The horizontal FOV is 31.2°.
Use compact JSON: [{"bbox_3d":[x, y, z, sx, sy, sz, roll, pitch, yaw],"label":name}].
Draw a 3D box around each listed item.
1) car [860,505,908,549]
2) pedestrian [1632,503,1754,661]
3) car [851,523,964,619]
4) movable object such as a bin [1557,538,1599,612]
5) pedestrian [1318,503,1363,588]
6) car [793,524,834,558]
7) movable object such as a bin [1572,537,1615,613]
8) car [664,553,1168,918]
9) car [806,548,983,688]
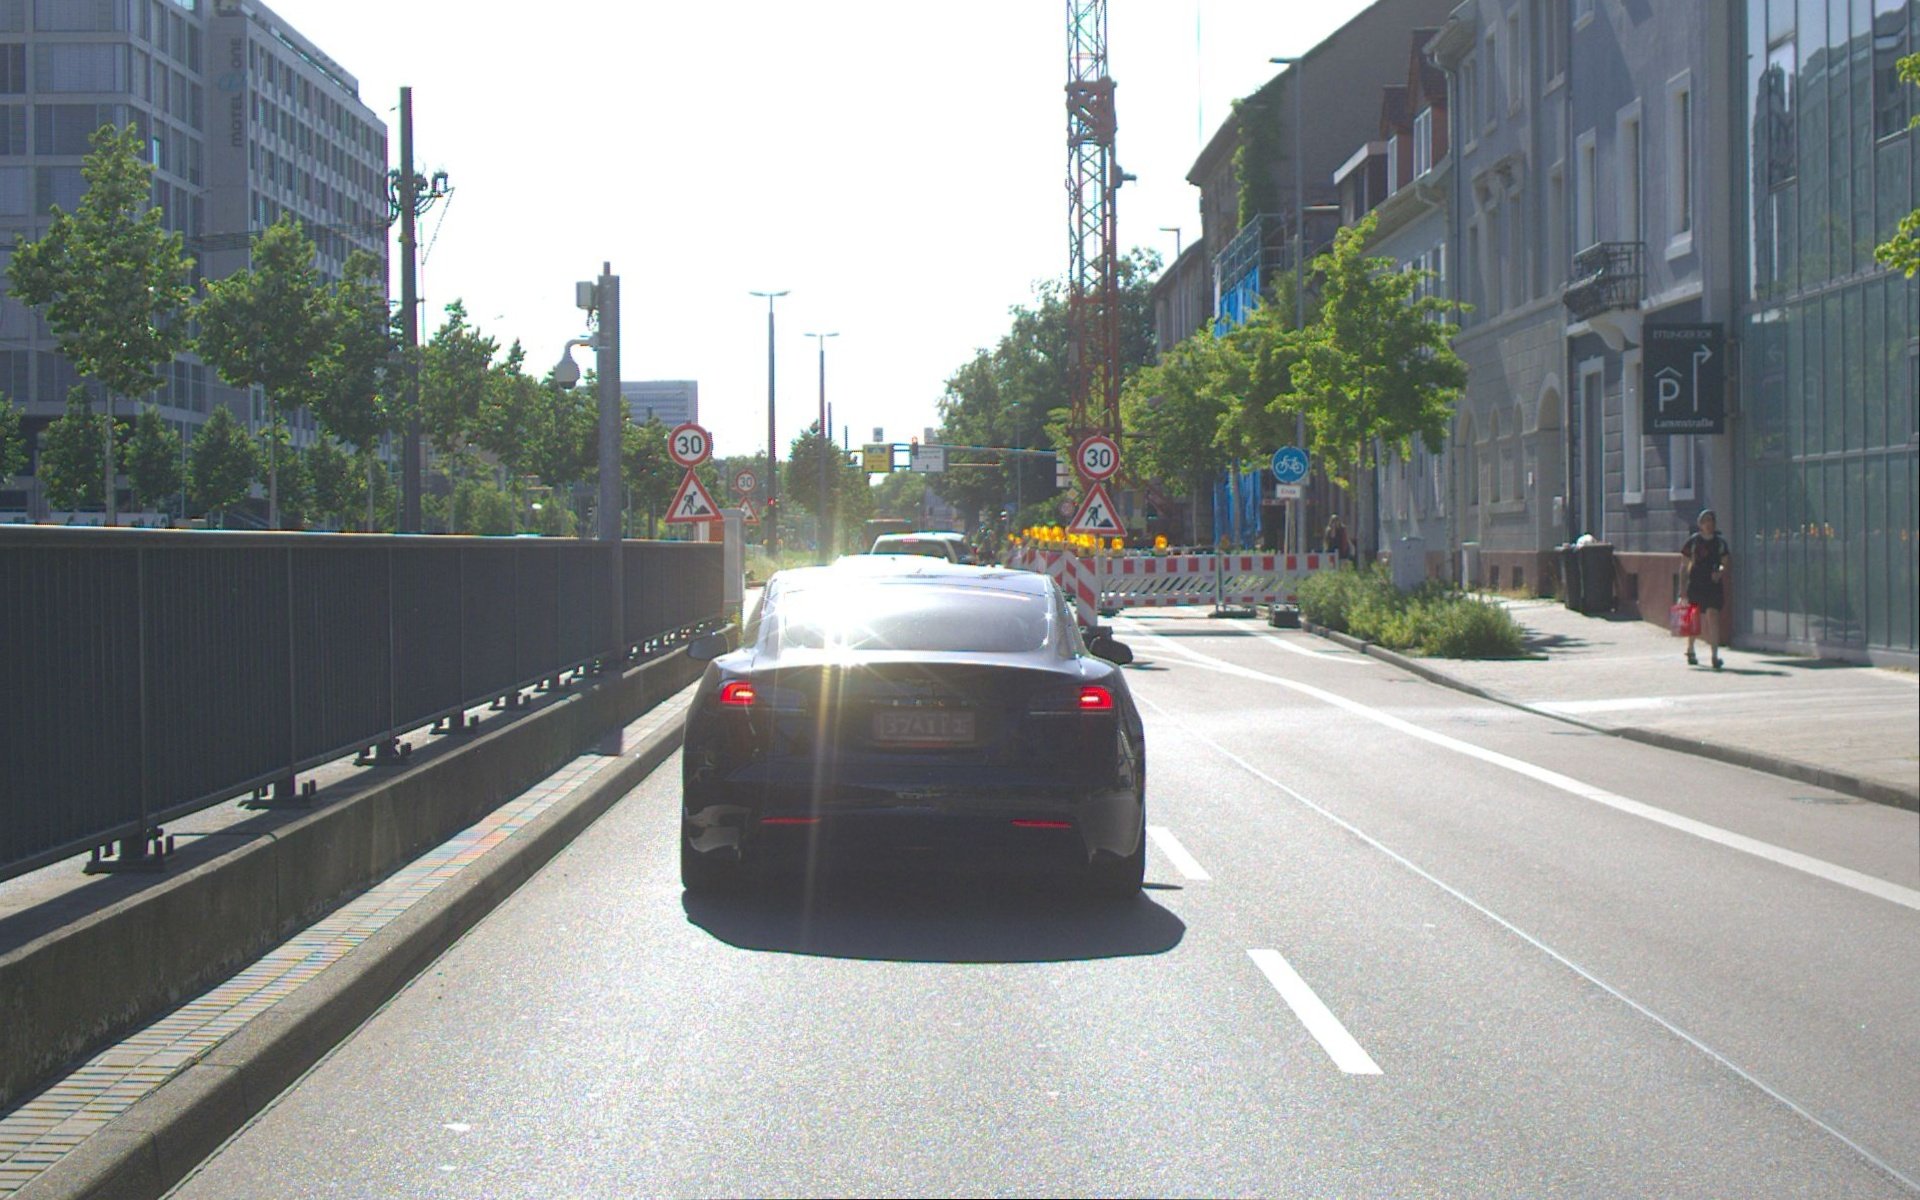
[{"bbox_3d":[-3.106,-3.014,141.524,1.814,1.803,4.039,0,1,1],"label":"car"},{"bbox_3d":[8.796,-0.230,41.339,1.095,1.857,1.523,-1,1,-1],"label":"pedestrian"},{"bbox_3d":[-0.854,-0.521,58.327,1.784,1.540,4.039,0,2,1],"label":"car"},{"bbox_3d":[9.785,-0.398,54.441,0.559,1.165,0.562,1,1,4],"label":"movable object such as a bin"},{"bbox_3d":[8.444,-1.210,76.342,0.851,1.857,0.930,-1,1,-1],"label":"pedestrian"},{"bbox_3d":[-7.574,-3.055,177.708,1.993,1.678,4.000,1,1,-1],"label":"car"},{"bbox_3d":[9.872,-0.385,53.593,0.559,1.165,0.562,1,1,4],"label":"movable object such as a bin"},{"bbox_3d":[-0.176,0.510,15.937,1.999,1.429,4.413,1,1,0],"label":"car"},{"bbox_3d":[-0.627,0.148,35.597,1.716,1.315,4.000,0,2,1],"label":"car"}]
